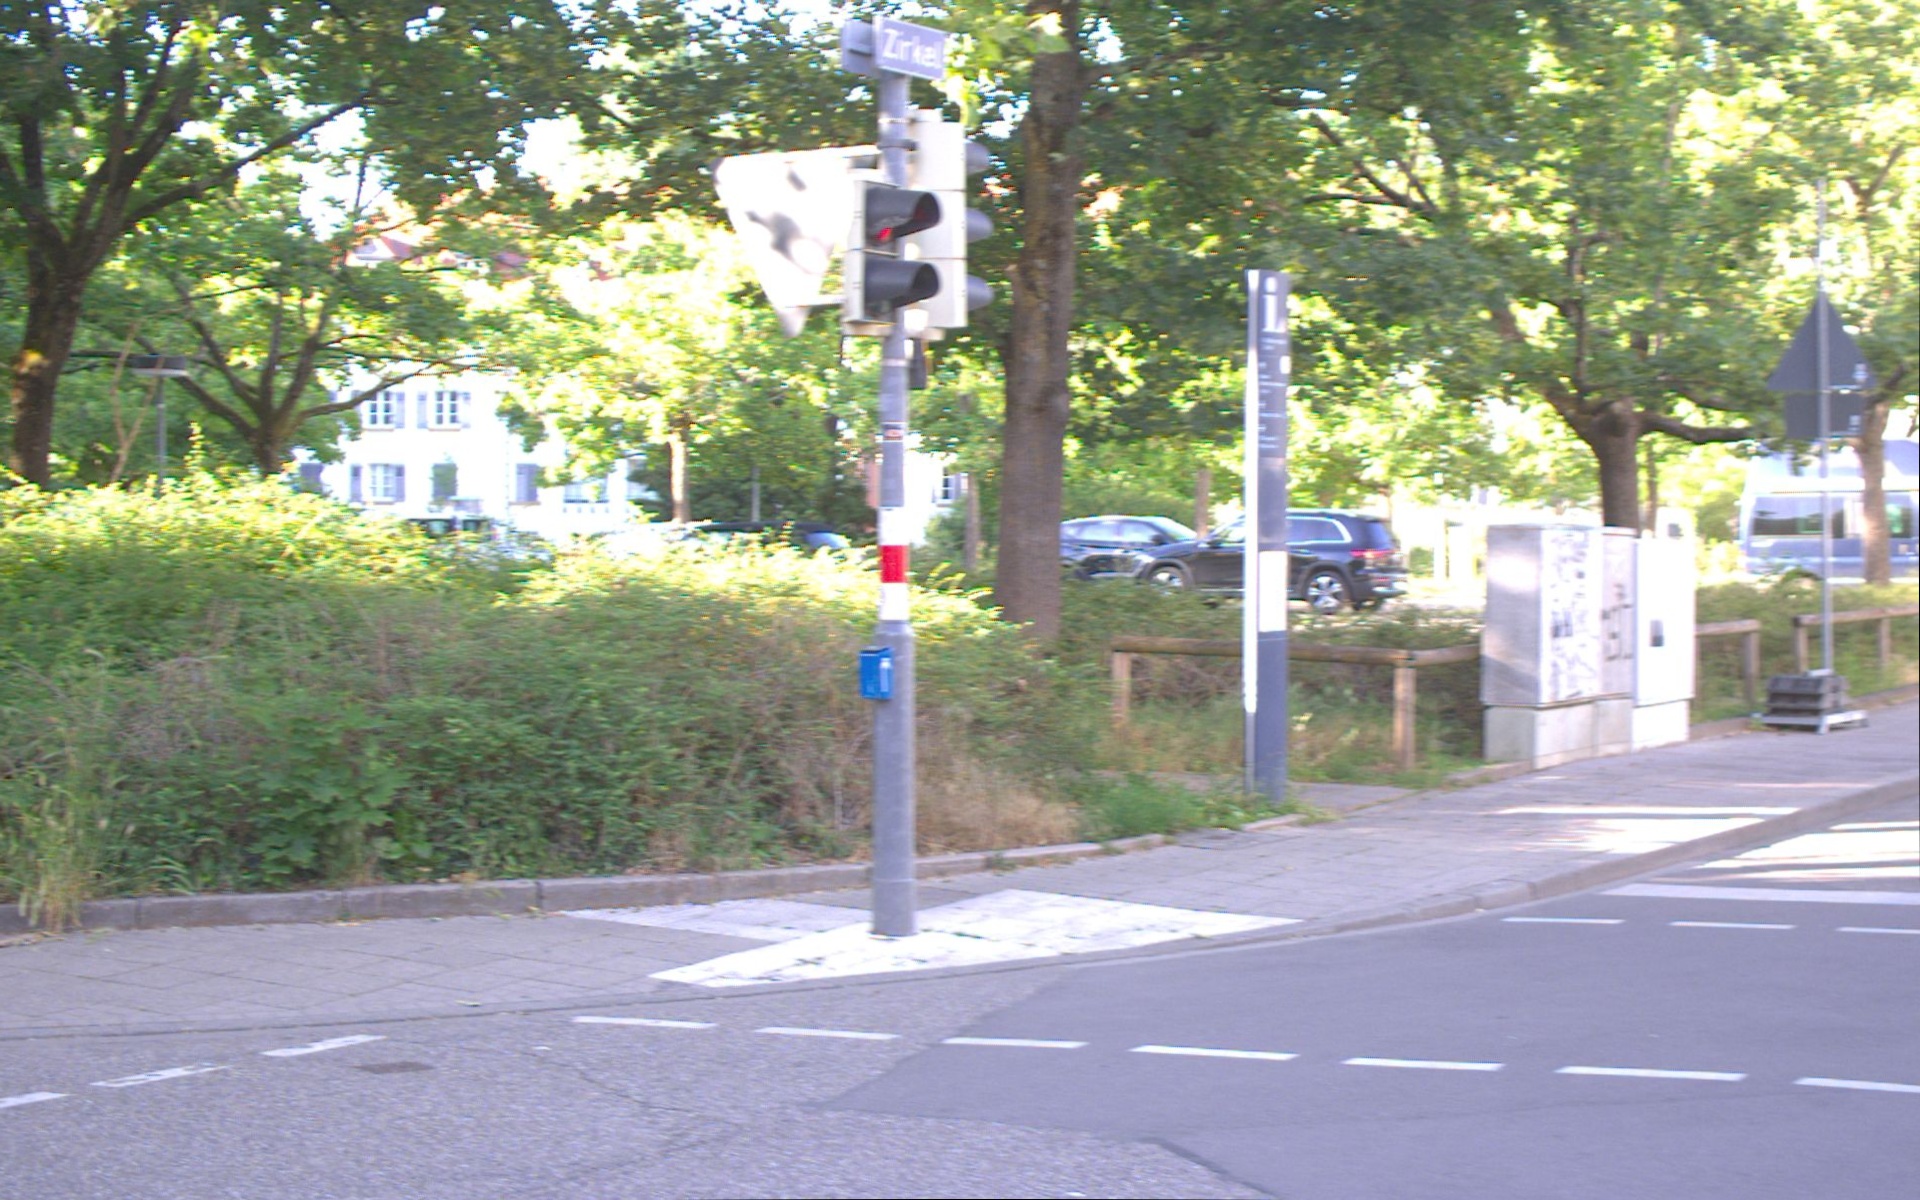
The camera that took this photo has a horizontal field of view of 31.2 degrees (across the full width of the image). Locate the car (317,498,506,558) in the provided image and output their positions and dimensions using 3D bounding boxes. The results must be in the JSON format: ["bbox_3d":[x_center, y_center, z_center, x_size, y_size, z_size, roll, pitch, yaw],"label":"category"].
[{"bbox_3d":[-14.330,-1.884,89.687,4.650,1.470,2.010,2,0,31],"label":"car"}]

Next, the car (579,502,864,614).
[{"bbox_3d":[-3.696,-0.650,53.138,3.994,1.620,1.921,2,0,31],"label":"car"}]

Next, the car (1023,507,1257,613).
[{"bbox_3d":[3.458,-0.775,66.215,4.039,1.940,1.921,2,0,30],"label":"car"}]

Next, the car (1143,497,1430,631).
[{"bbox_3d":[5.336,-0.617,56.264,4.304,2.081,1.785,1,2,30],"label":"car"}]

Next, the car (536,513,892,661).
[{"bbox_3d":[-3.176,-0.203,44.153,4.304,1.805,1.785,1,1,30],"label":"car"}]

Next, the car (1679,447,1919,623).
[{"bbox_3d":[13.592,-0.982,51.495,5.151,2.564,1.997,1,2,29],"label":"car"}]
